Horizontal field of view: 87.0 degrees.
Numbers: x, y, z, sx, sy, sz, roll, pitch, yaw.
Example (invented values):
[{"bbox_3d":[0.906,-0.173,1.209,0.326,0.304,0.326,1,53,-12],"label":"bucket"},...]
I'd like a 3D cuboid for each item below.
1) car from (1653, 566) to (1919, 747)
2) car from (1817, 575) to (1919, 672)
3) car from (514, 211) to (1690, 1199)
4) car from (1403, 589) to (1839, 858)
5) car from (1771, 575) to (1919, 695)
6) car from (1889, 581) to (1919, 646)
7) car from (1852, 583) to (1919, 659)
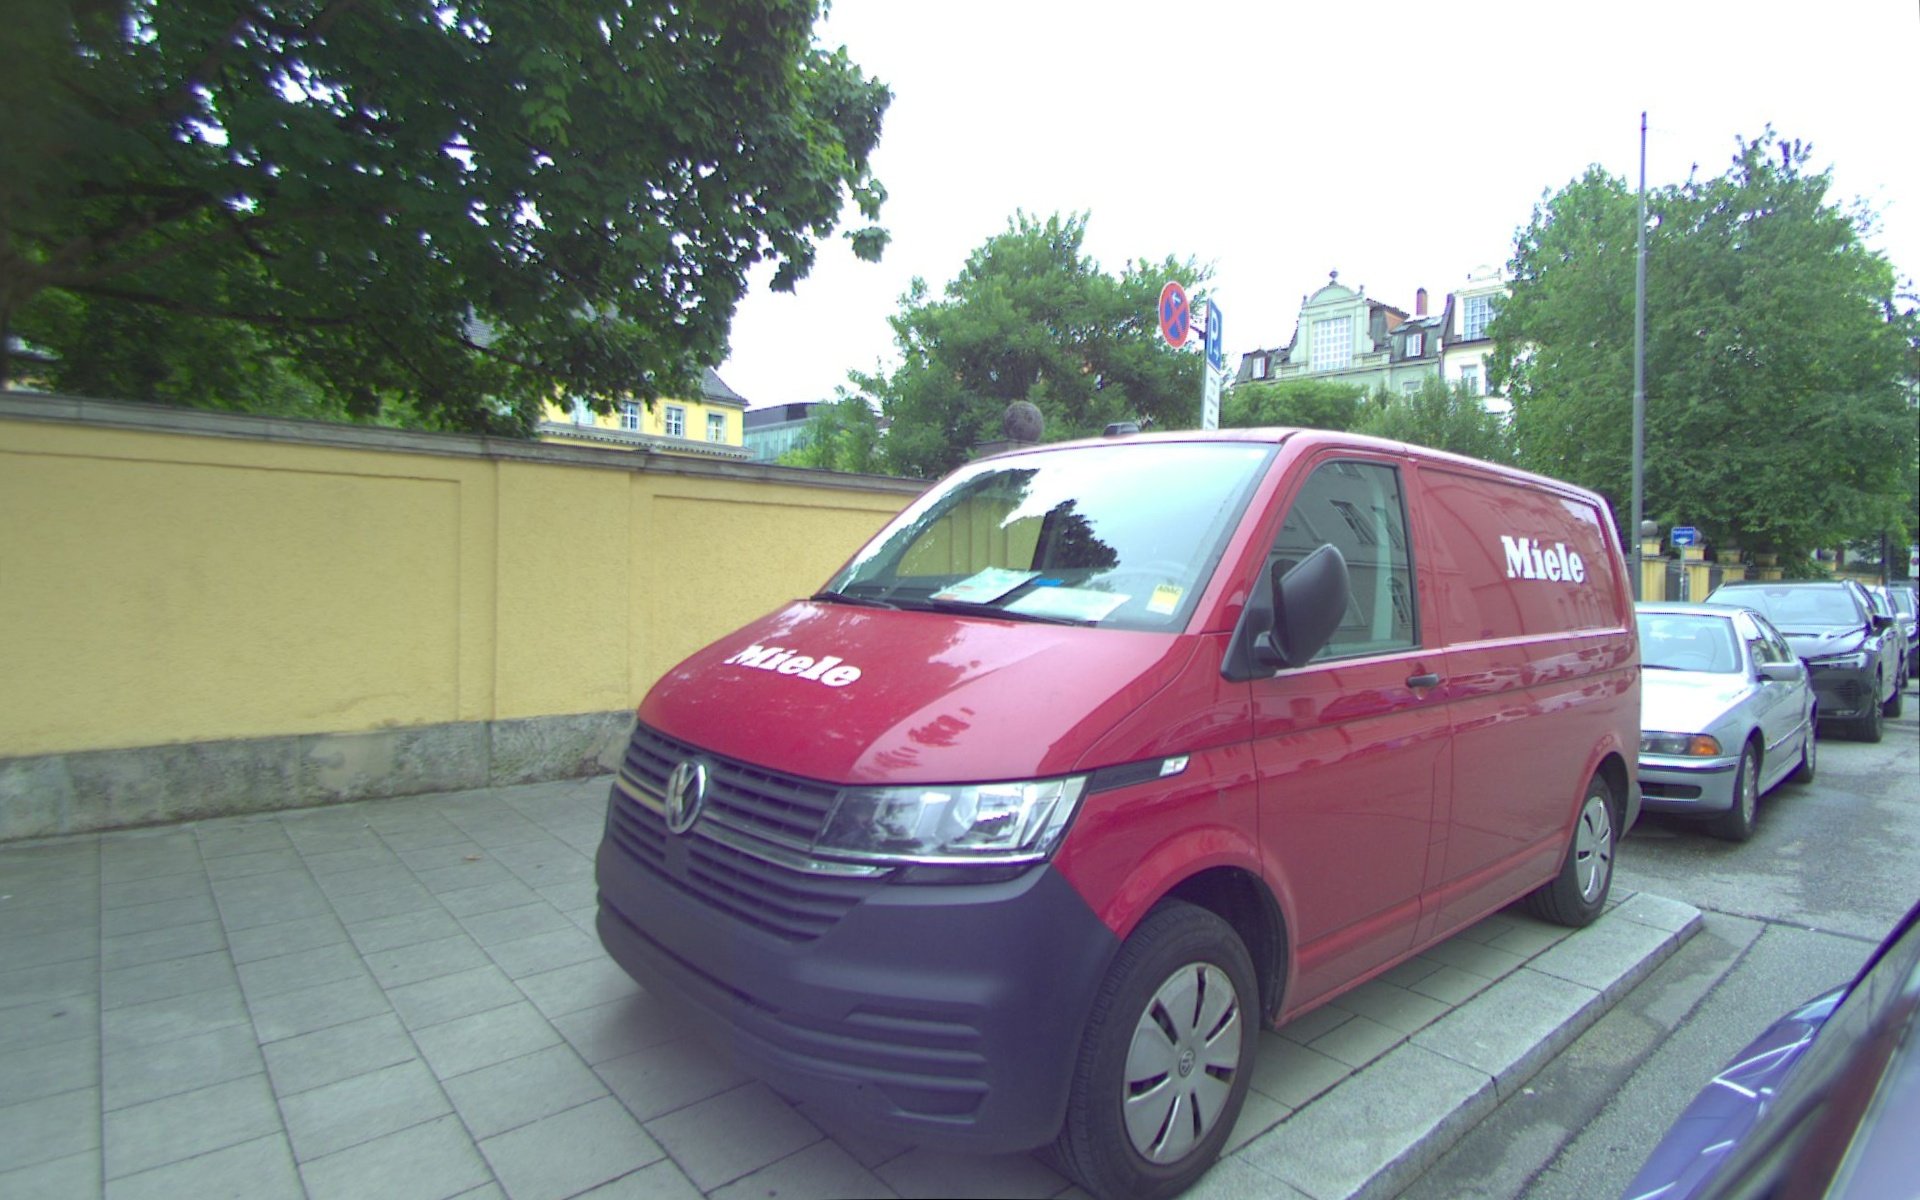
[{"bbox_3d":[9.731,0.501,11.678,4.743,1.674,1.886,-1,0,-43],"label":"car"},{"bbox_3d":[16.453,0.374,17.898,2.818,1.586,1.511,-1,0,-40],"label":"car"},{"bbox_3d":[1.076,0.330,3.913,4.804,1.945,1.876,-1,1,-42],"label":"car"},{"bbox_3d":[5.224,0.661,7.730,4.297,1.467,1.886,-1,0,-44],"label":"car"},{"bbox_3d":[13.239,0.438,14.958,3.631,1.559,1.485,-1,0,-44],"label":"car"},{"bbox_3d":[23.199,0.300,23.595,4.436,1.432,1.695,-1,2,-40],"label":"car"},{"bbox_3d":[19.446,0.378,20.445,3.967,1.432,1.694,-1,0,-42],"label":"car"}]
